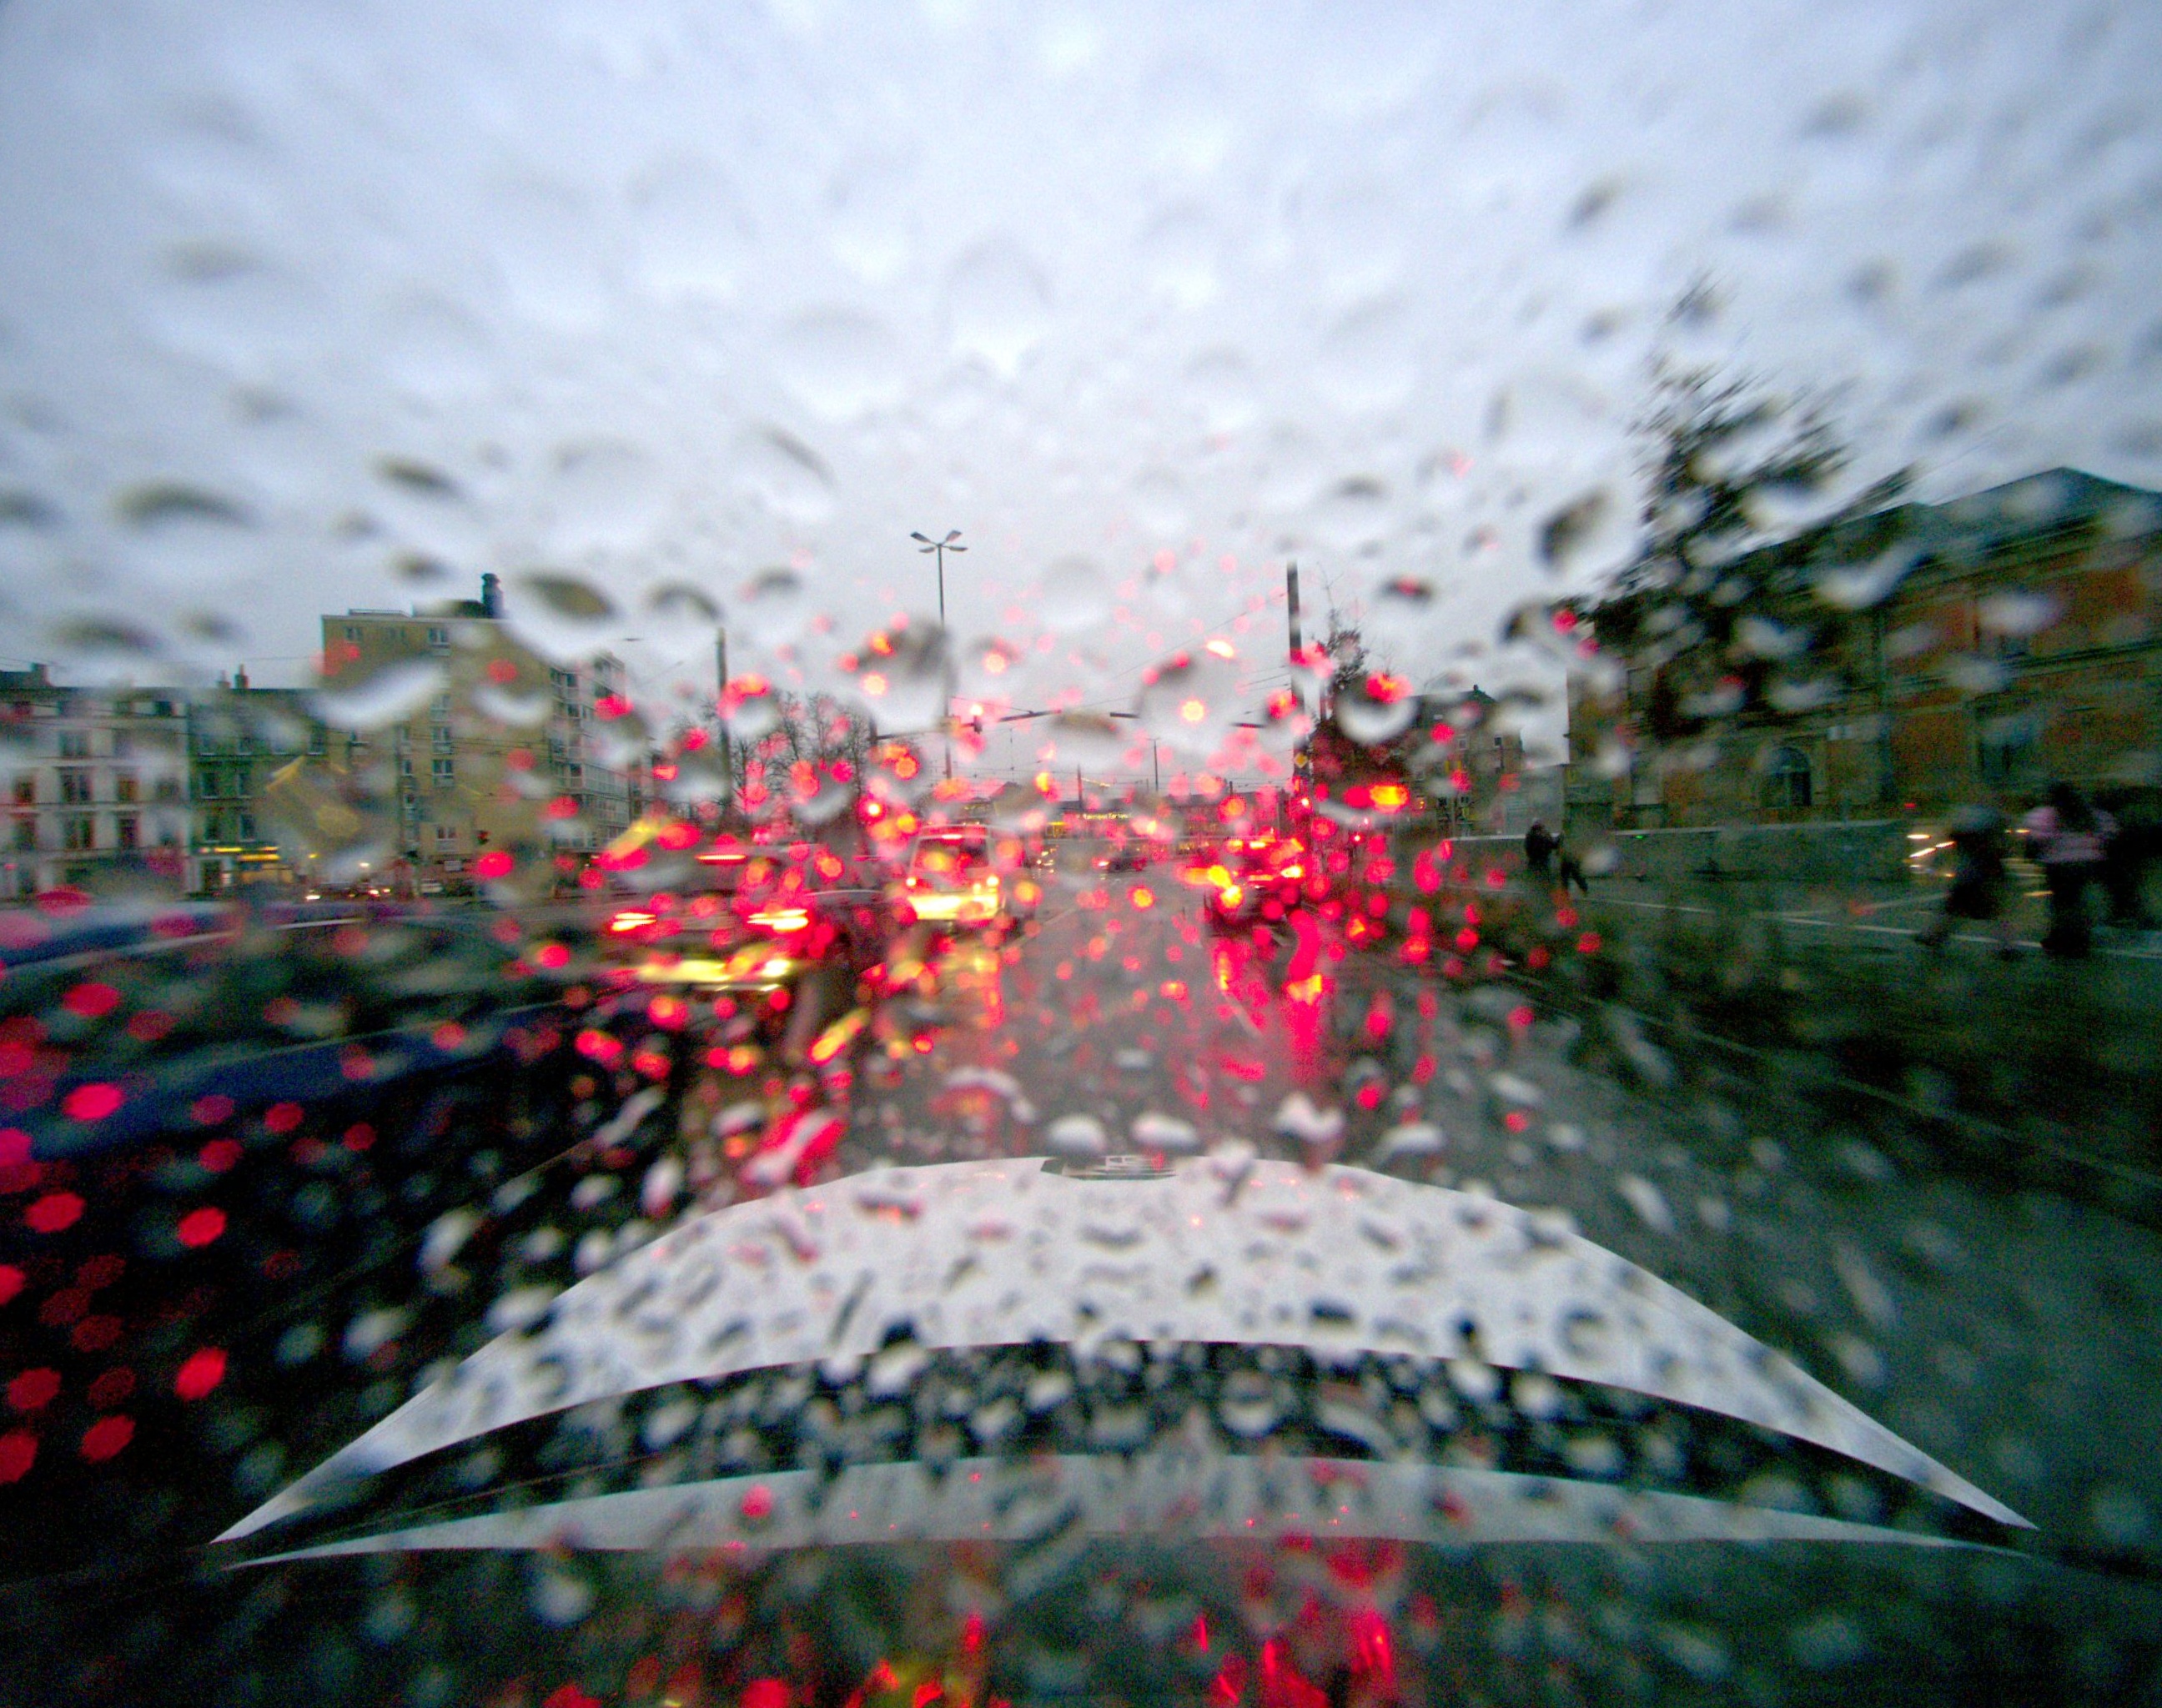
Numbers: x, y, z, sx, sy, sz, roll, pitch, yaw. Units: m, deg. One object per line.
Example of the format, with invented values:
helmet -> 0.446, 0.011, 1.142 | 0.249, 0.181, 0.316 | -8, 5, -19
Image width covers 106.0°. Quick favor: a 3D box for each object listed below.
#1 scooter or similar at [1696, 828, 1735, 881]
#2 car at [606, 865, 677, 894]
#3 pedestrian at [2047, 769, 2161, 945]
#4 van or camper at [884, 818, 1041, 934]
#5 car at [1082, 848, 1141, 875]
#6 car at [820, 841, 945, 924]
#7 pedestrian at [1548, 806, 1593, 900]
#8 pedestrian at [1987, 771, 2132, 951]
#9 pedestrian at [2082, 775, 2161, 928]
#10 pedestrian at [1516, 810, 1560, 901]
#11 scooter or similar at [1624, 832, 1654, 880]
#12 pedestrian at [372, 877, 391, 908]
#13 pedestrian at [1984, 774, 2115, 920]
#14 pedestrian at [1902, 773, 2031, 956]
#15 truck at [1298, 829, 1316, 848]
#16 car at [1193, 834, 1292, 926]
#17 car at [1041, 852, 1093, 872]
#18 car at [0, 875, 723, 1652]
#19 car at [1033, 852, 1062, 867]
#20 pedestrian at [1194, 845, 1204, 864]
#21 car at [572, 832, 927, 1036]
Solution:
scooter or similar -> 15.094, -0.001, 19.393 | 0.507, 1.213, 1.392 | -3, 0, 31
car -> -31.185, 1.809, 57.867 | 3.994, 1.772, 1.990 | -3, 0, -15
pedestrian -> 10.484, 0.027, 8.176 | 0.711, 1.687, 0.765 | -3, 0, 28
van or camper -> -2.329, 0.413, 17.549 | 2.191, 2.109, 4.994 | -1, 0, 5
car -> 2.092, 0.491, 54.504 | 1.974, 1.602, 4.026 | -3, 0, 35
car -> -4.736, 0.632, 20.047 | 1.877, 1.772, 4.002 | -2, 0, 2
pedestrian -> 10.707, -0.035, 17.834 | 0.800, 2.013, 0.765 | -1, 2, 28
pedestrian -> 9.673, 0.068, 8.082 | 0.661, 1.687, 0.616 | -4, 1, 28
pedestrian -> 12.821, -0.033, 9.909 | 0.583, 1.791, 0.557 | -2, -1, -14
pedestrian -> 10.003, 0.020, 17.844 | 0.800, 1.929, 0.765 | -1, 2, 28
scooter or similar -> 14.688, 0.032, 21.427 | 0.507, 1.213, 1.392 | -3, -1, 39
pedestrian -> -42.637, 2.335, 49.664 | 0.628, 1.802, 0.570 | -3, 0, -13
pedestrian -> 12.549, -0.090, 10.567 | 0.852, 1.791, 0.745 | -2, 0, -14
pedestrian -> 9.074, 0.110, 8.383 | 0.578, 1.781, 0.774 | -4, -1, 28
truck -> 34.317, -2.381, 123.603 | 1.976, 2.691, 5.142 | -3, 0, 21
car -> 3.531, 0.496, 18.461 | 1.769, 1.800, 4.432 | -2, 0, 6
car -> -1.100, 0.624, 64.916 | 3.808, 1.366, 1.843 | -3, 0, -13
car -> -2.915, 0.830, 2.733 | 1.654, 1.404, 4.118 | 0, 0, -1
car -> -3.348, 0.538, 82.280 | 1.800, 1.446, 4.015 | -3, 0, 13
pedestrian -> 11.535, 0.080, 79.490 | 0.595, 1.840, 0.613 | -3, 0, -31
car -> -3.041, 0.631, 8.688 | 1.778, 1.601, 4.543 | 0, 0, 2
